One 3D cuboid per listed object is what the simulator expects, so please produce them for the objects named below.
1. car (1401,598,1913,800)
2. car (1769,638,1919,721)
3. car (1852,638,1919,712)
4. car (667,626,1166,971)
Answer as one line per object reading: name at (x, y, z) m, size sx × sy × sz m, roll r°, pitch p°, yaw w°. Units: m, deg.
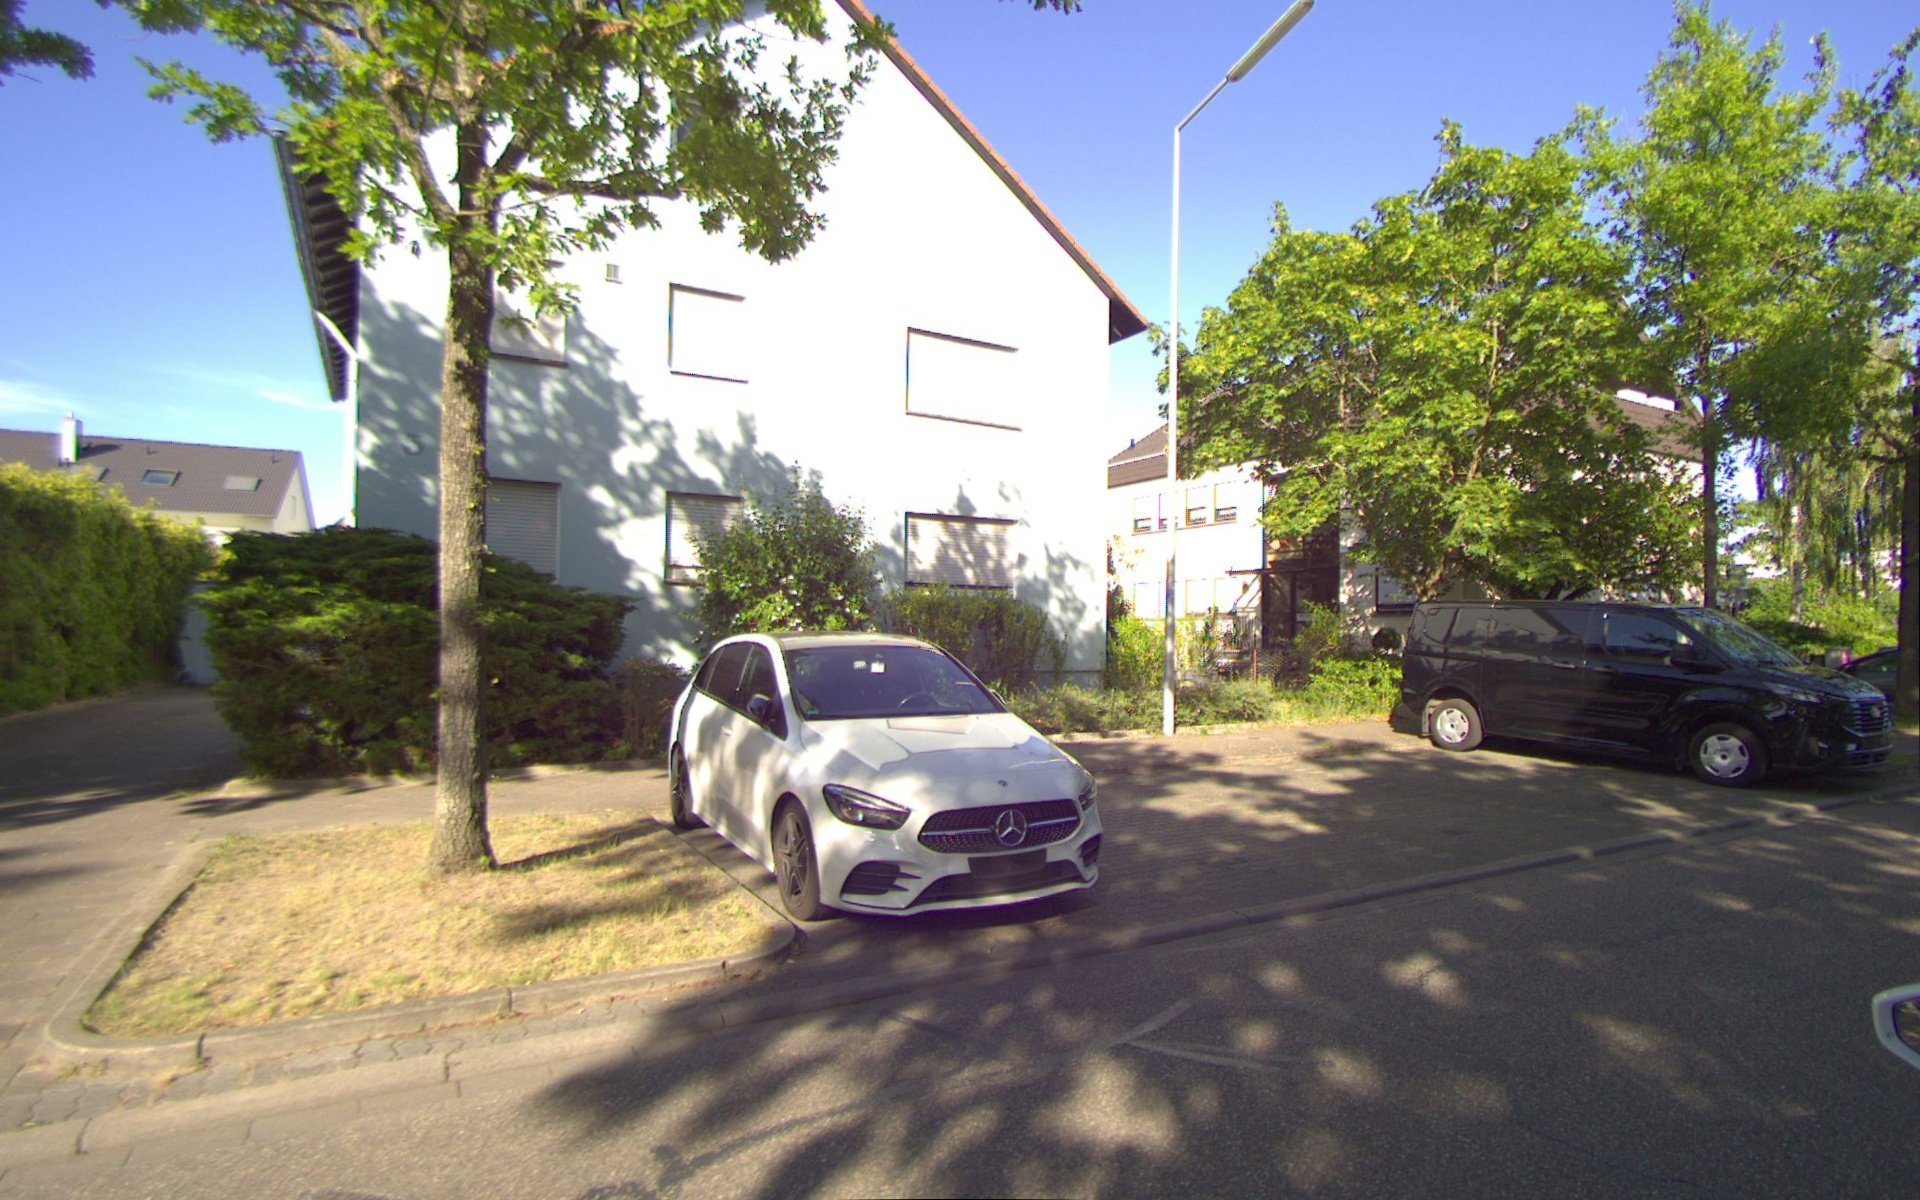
car at (8.108, 0.979, 12.234) m, size 1.995 × 1.942 × 4.755 m, roll 1°, pitch -1°, yaw -31°
car at (17.875, 1.491, 18.874) m, size 1.752 × 1.438 × 3.800 m, roll 1°, pitch -1°, yaw -31°
car at (20.589, 1.552, 20.059) m, size 1.692 × 1.478 × 3.841 m, roll 1°, pitch -1°, yaw -29°
car at (-0.660, 0.985, 6.945) m, size 1.747 × 1.497 × 4.257 m, roll 1°, pitch -1°, yaw -29°
